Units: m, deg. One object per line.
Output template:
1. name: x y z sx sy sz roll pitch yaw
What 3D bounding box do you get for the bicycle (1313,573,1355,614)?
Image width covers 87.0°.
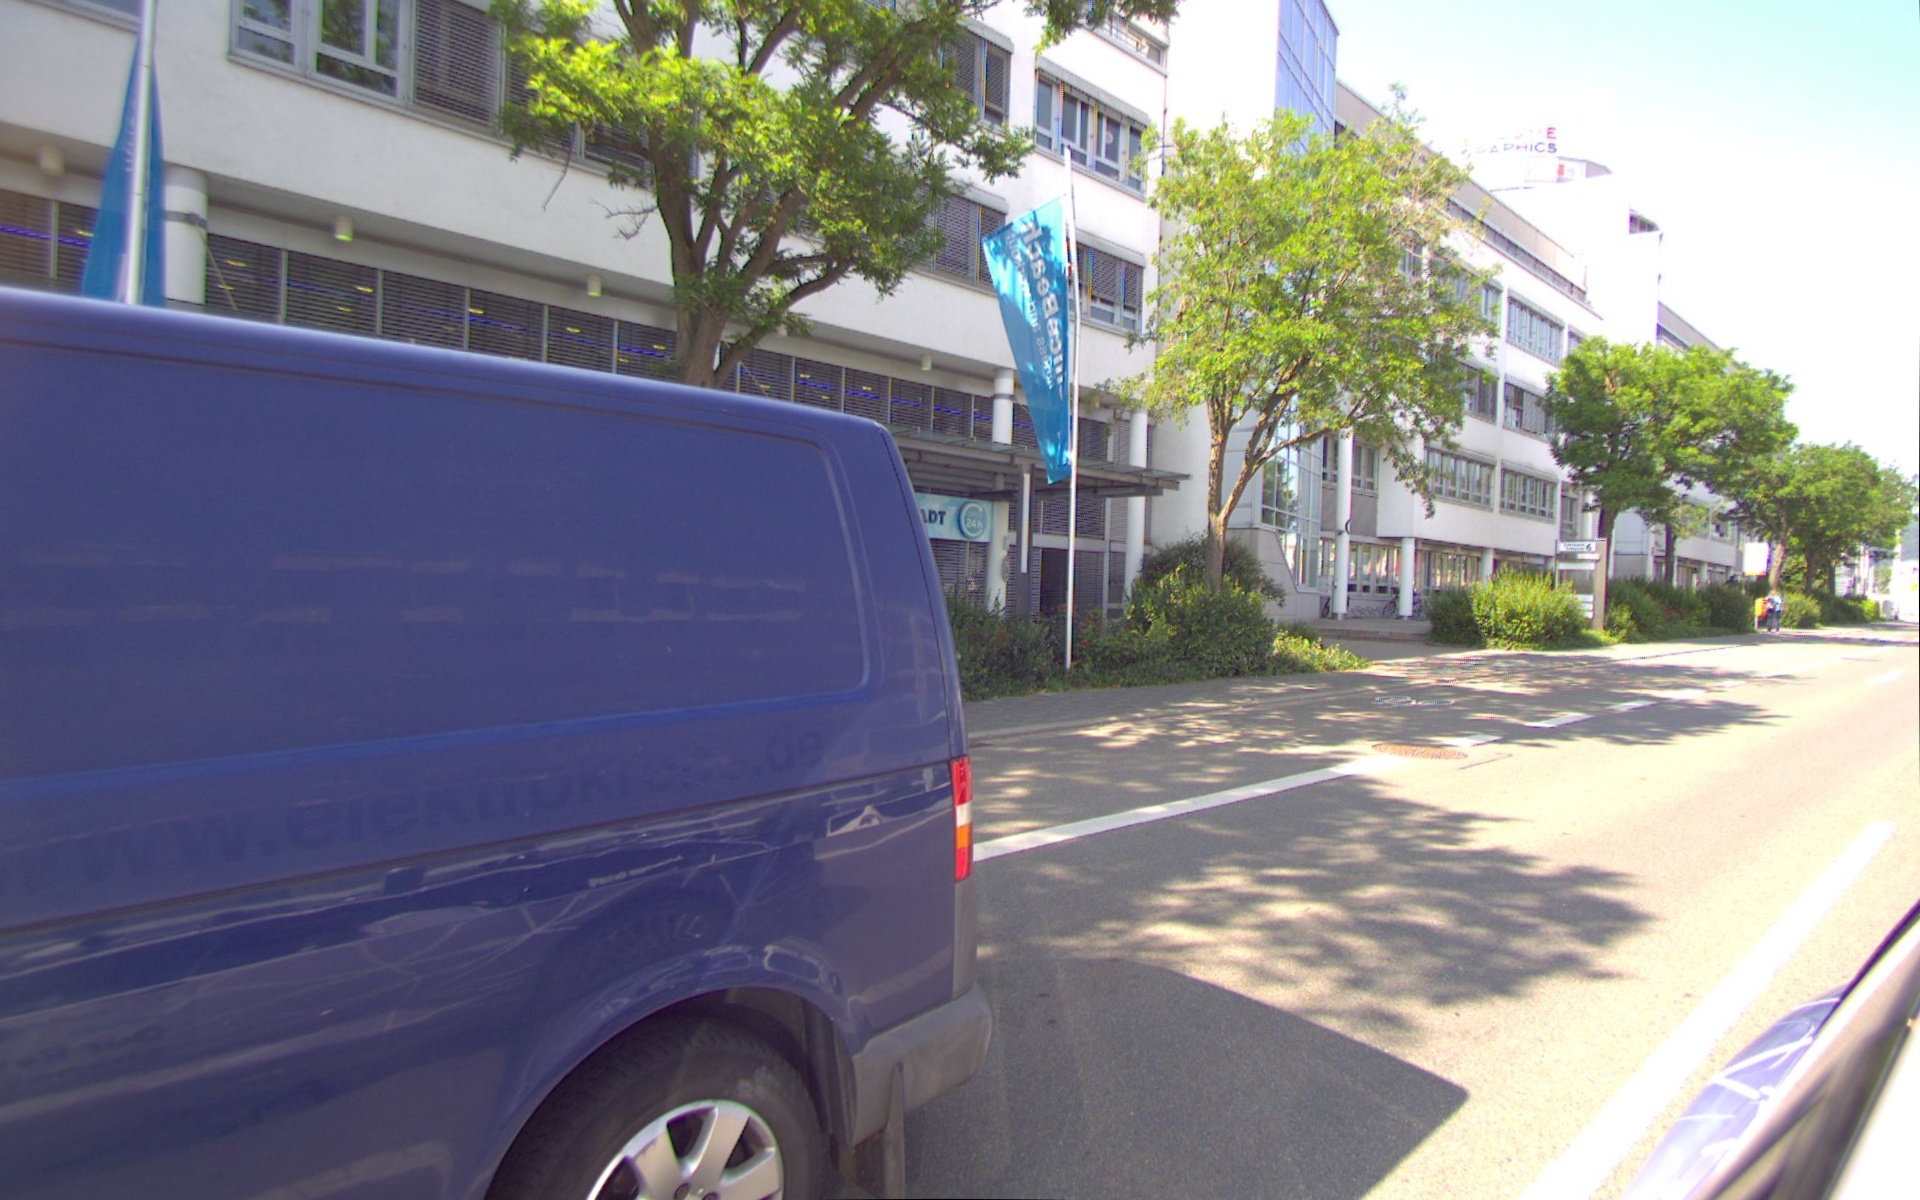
1. bicycle: 12.899 -0.212 34.889 1.852 1.371 0.506 0 1 -41

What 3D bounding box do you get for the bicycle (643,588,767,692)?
1. bicycle: -3.637 0.537 14.375 1.868 1.346 0.501 2 1 30

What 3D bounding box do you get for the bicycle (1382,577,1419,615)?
1. bicycle: 16.339 -0.144 37.512 1.852 1.371 0.506 0 1 -41

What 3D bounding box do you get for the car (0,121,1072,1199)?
1. car: -2.200 0.408 1.568 4.806 1.972 1.997 -1 2 -41

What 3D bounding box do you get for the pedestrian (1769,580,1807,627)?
1. pedestrian: 35.150 0.156 42.984 1.267 1.909 0.942 0 4 -41

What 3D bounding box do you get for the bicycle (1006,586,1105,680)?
1. bicycle: 1.501 0.479 15.608 0.504 1.346 1.856 2 1 41
